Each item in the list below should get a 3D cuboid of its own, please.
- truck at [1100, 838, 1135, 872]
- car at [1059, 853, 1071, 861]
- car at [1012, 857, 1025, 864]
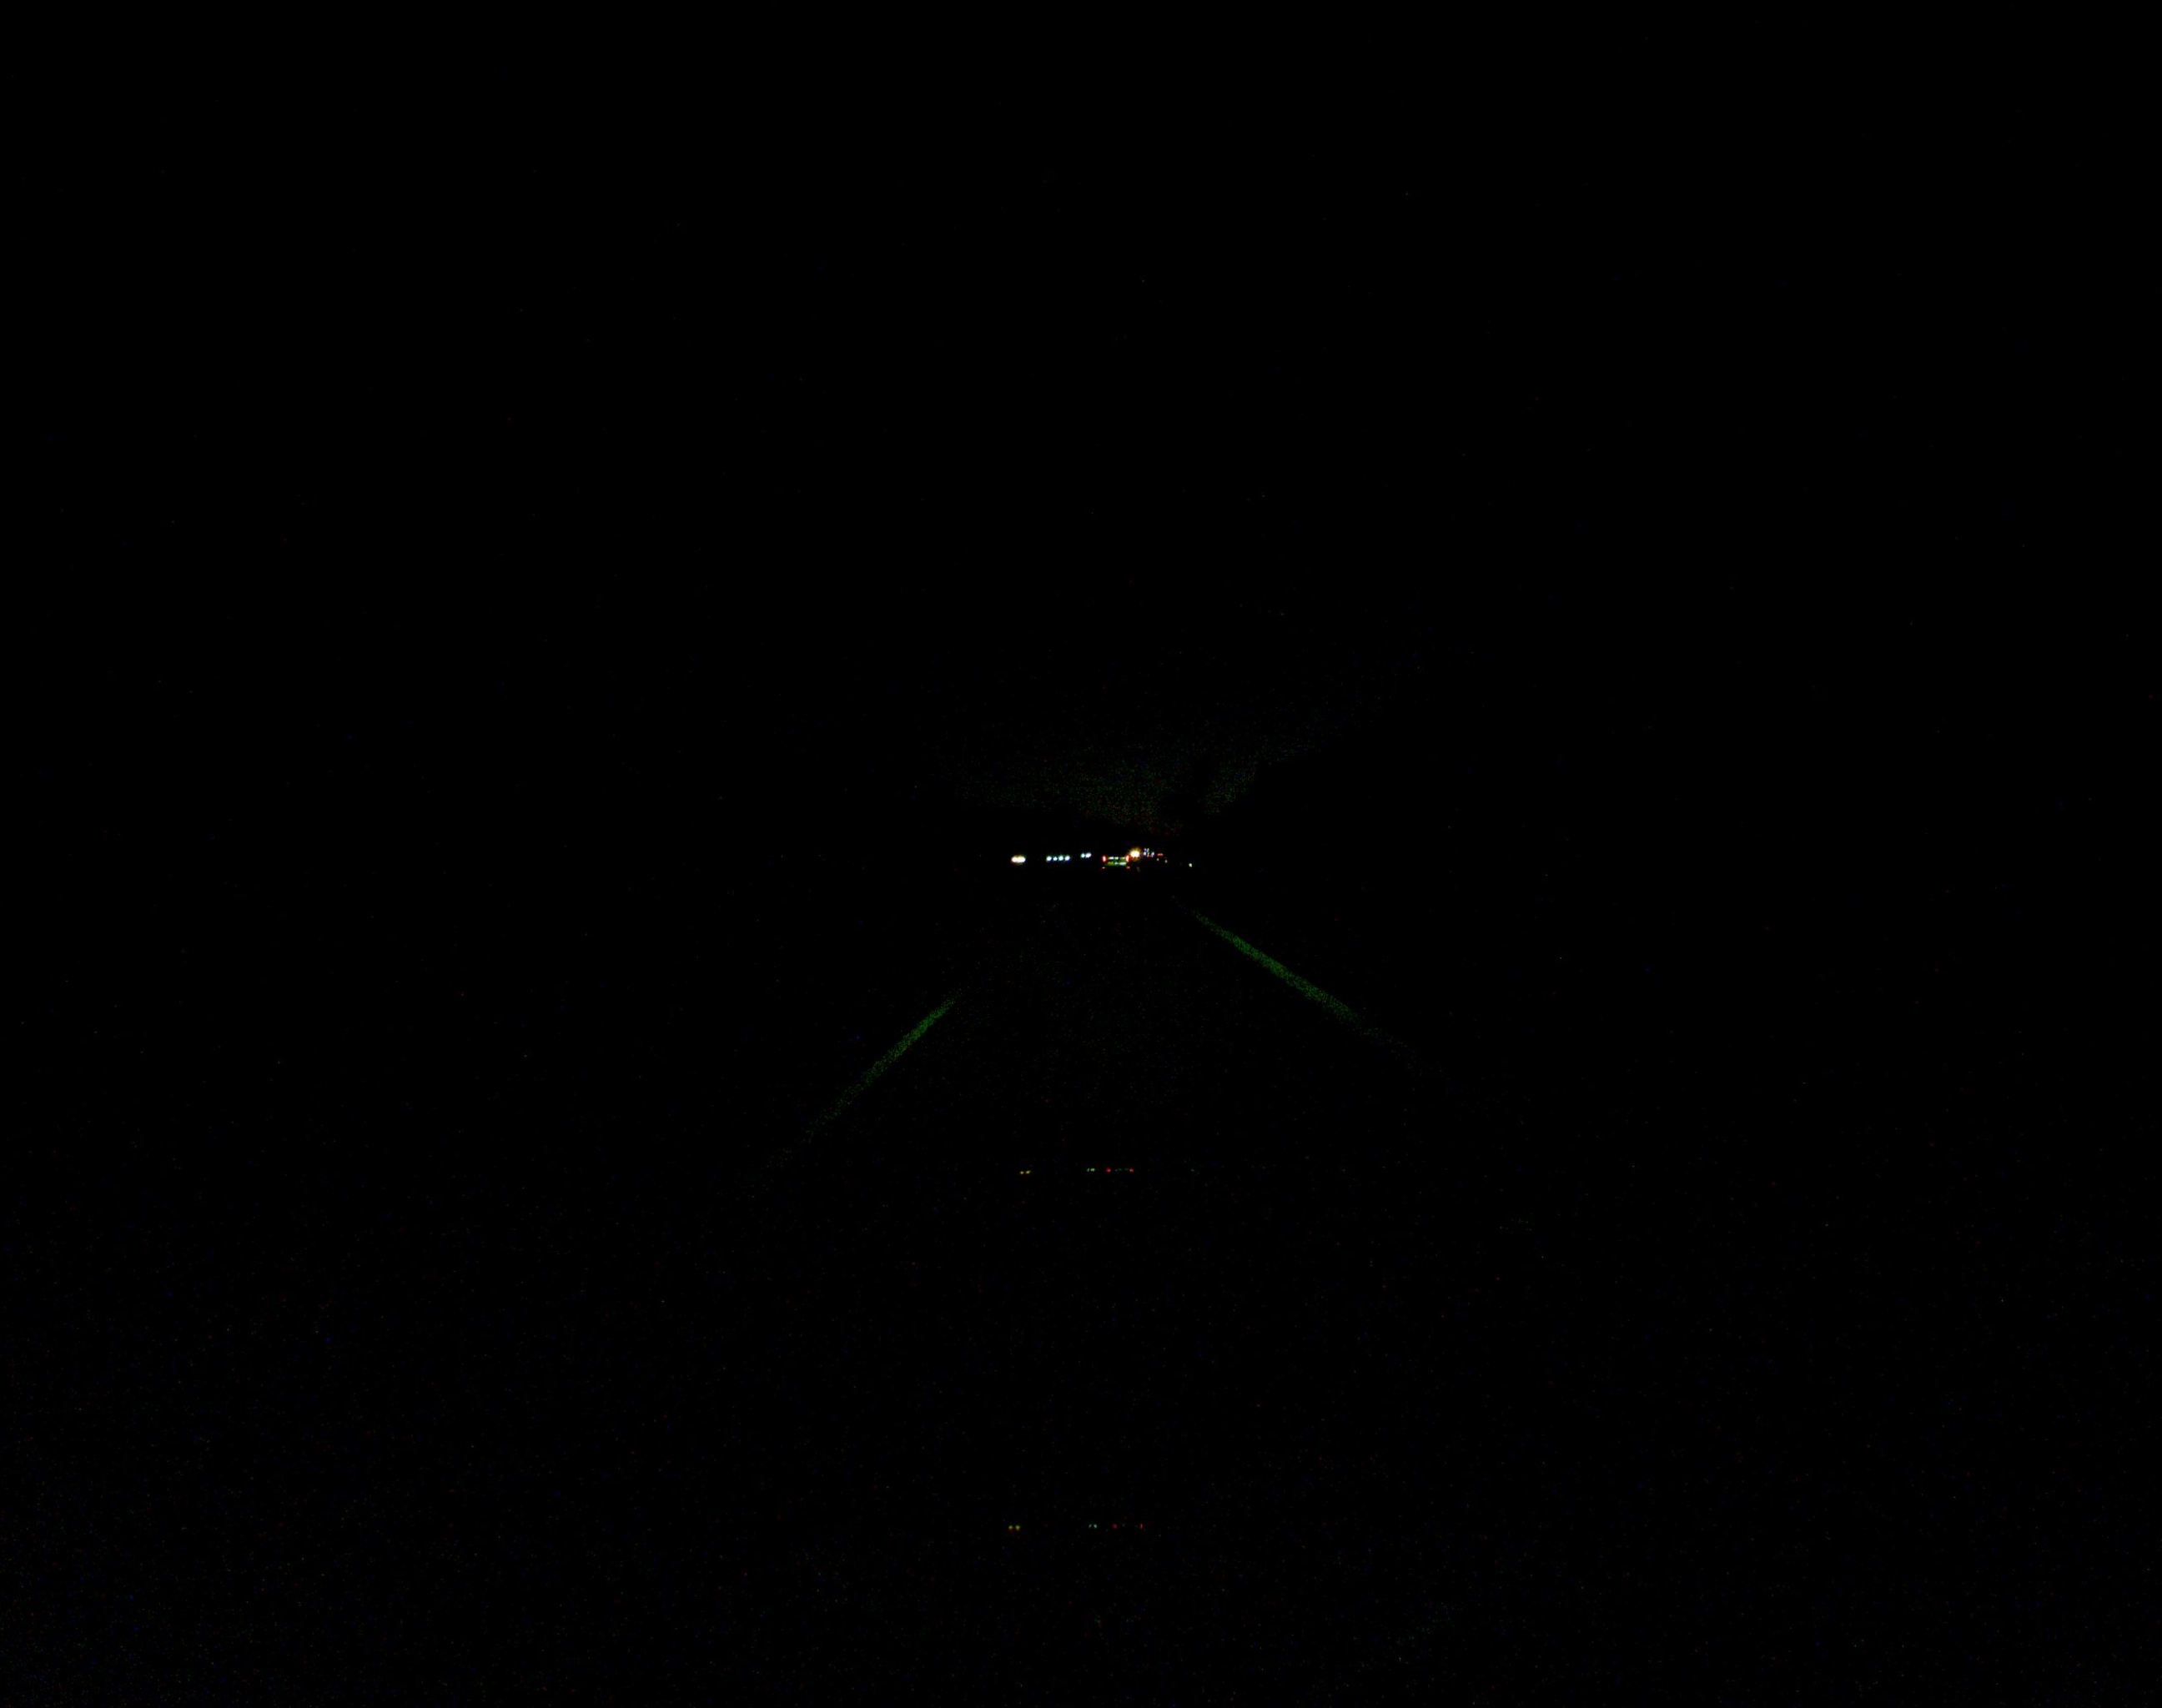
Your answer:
[{"bbox_3d":[2.938,0.087,67.461,2.621,2.624,8.686,-1,0,1],"label":"truck"},{"bbox_3d":[-3.551,0.598,182.477,1.984,1.791,4.686,-1,-1,5],"label":"car"},{"bbox_3d":[-12.904,1.348,168.071,1.984,1.508,4.406,-1,0,4],"label":"car"}]
